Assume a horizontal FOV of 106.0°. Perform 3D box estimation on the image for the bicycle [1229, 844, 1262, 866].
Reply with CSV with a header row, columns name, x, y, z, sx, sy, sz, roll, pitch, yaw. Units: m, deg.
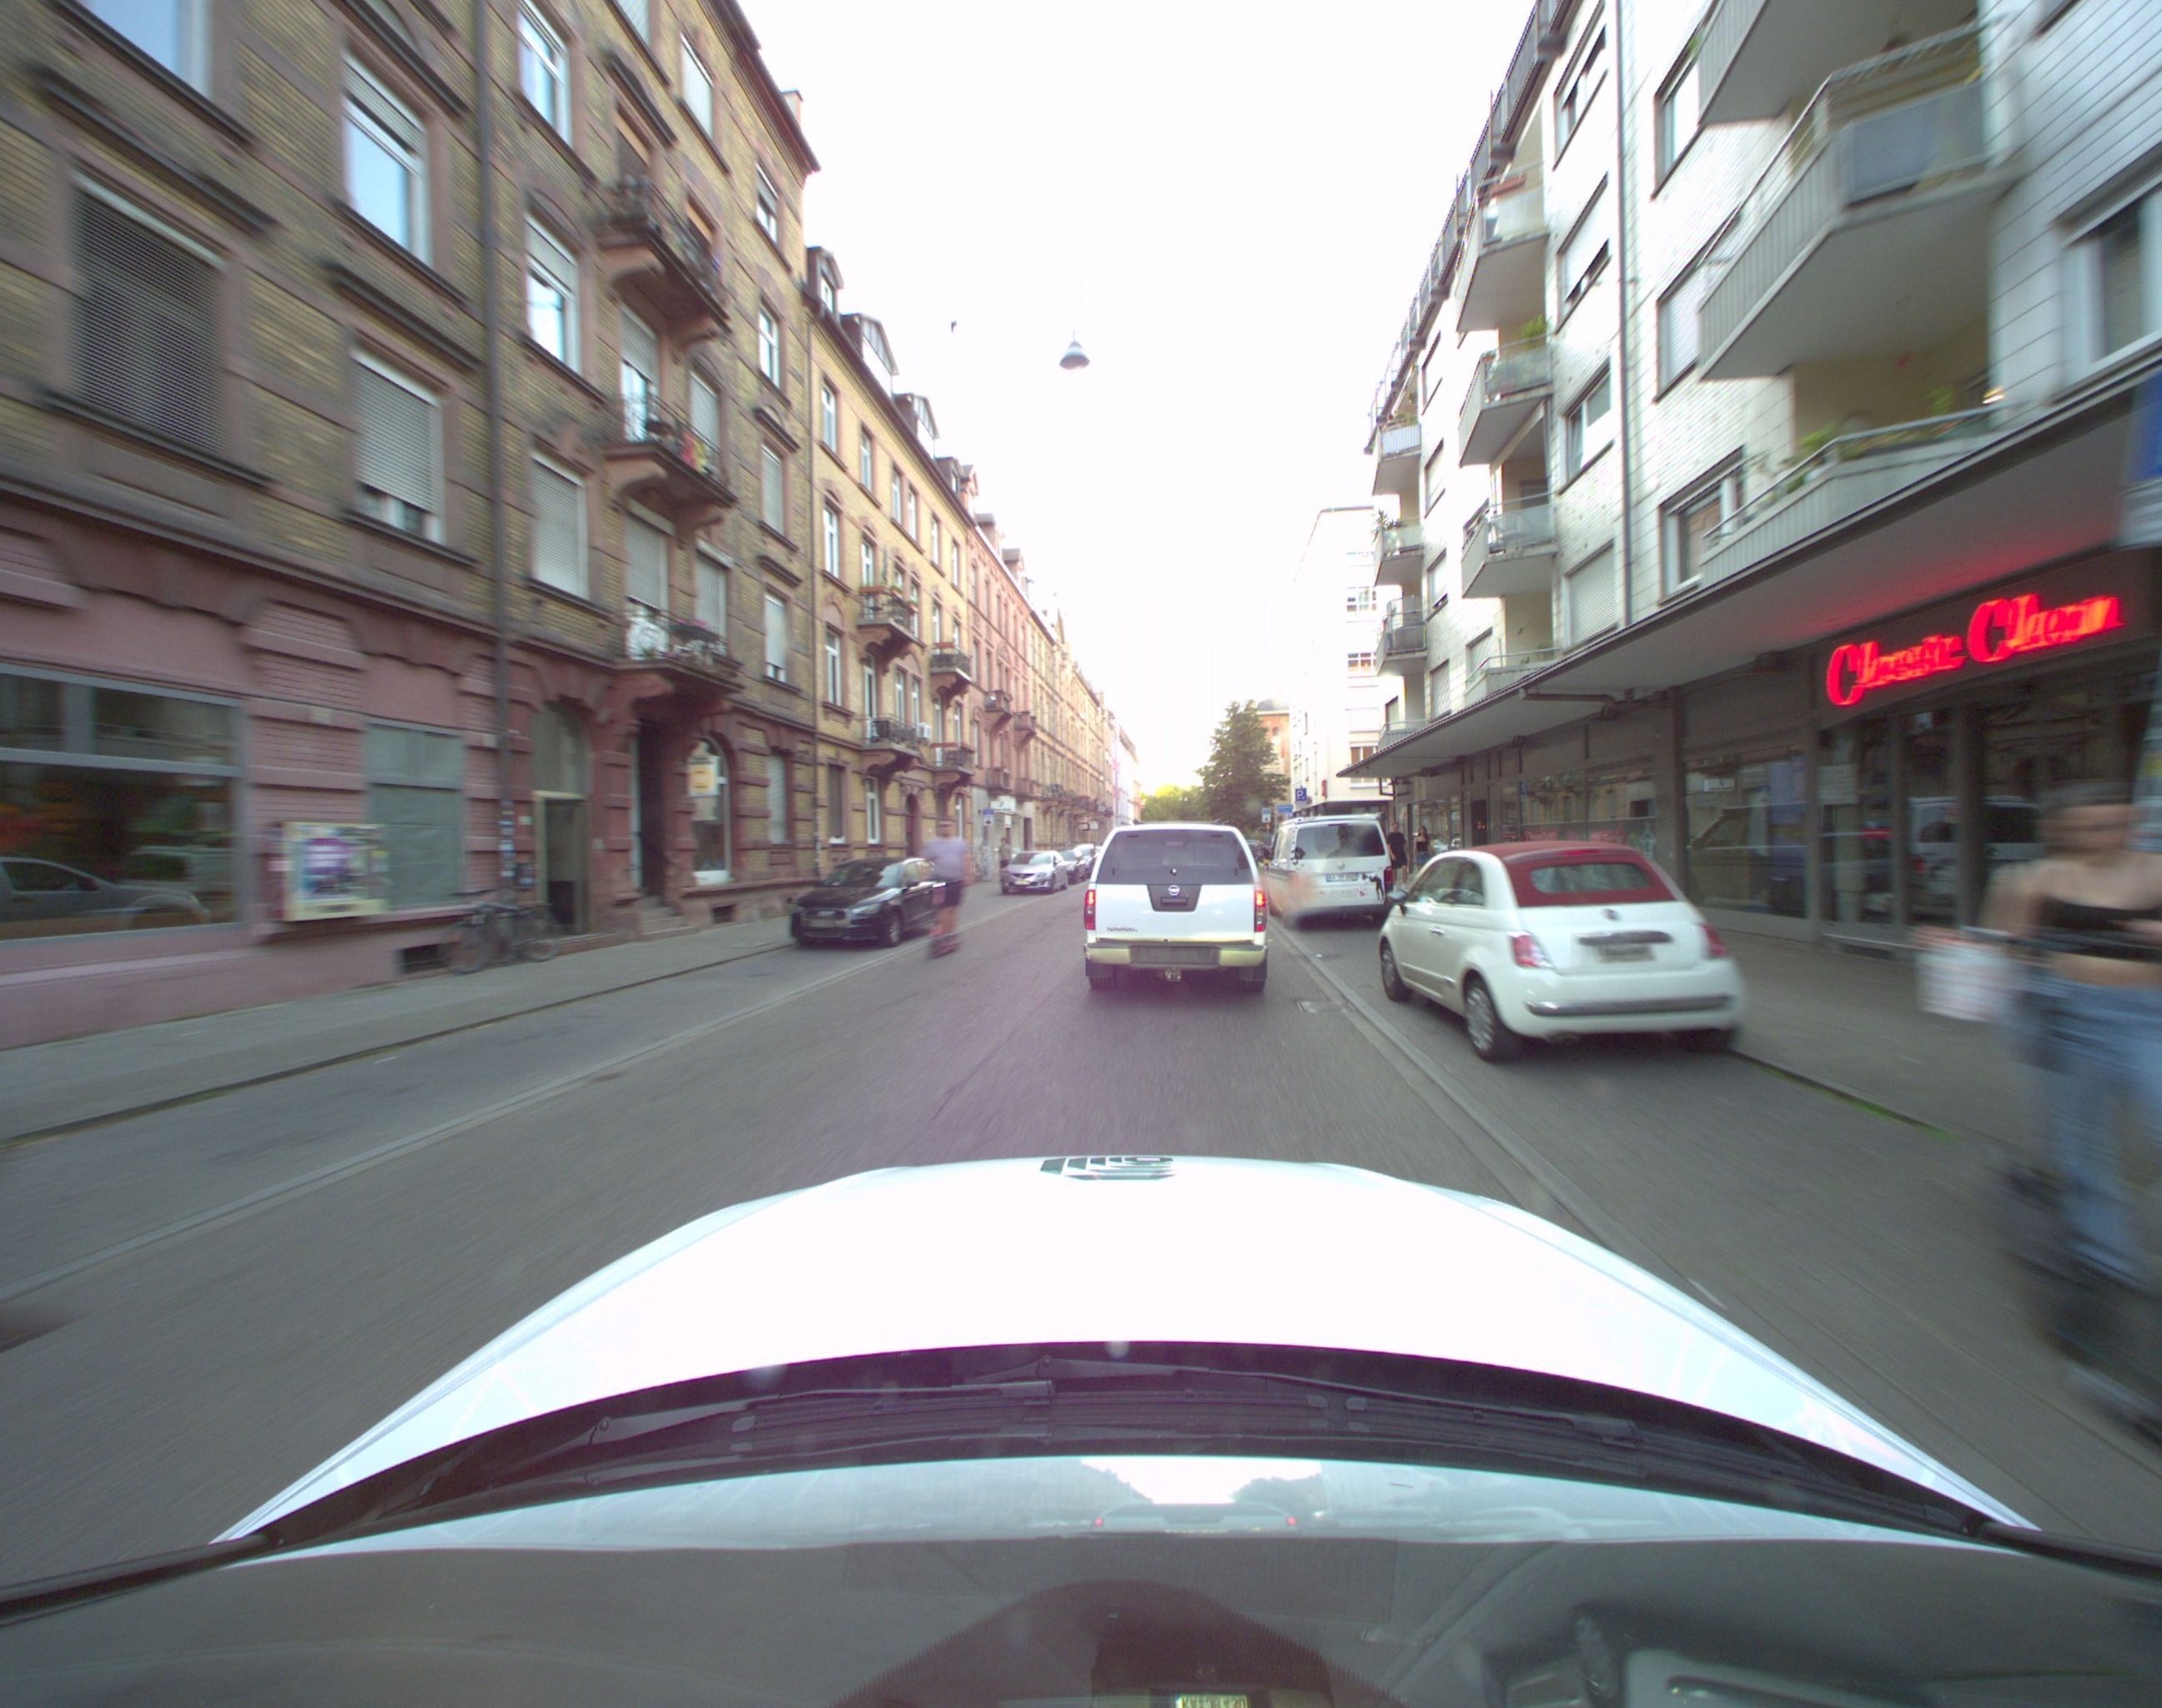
name,x,y,z,sx,sy,sz,roll,pitch,yaw
bicycle,9.327,0.068,46.148,1.713,1.118,0.708,-3,-1,6

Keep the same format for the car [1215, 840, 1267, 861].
name,x,y,z,sx,sy,sz,roll,pitch,yaw
car,13.056,-0.297,66.769,3.967,1.456,1.831,-3,0,5

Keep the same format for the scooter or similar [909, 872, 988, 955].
name,x,y,z,sx,sy,sz,roll,pitch,yaw
scooter or similar,-1.943,0.859,12.119,0.802,1.104,1.175,-2,1,8

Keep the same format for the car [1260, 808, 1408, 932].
name,x,y,z,sx,sy,sz,roll,pitch,yaw
car,4.744,0.227,16.042,1.947,1.973,5.015,-3,1,8

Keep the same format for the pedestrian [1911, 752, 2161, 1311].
name,x,y,z,sx,sy,sz,roll,pitch,yaw
pedestrian,3.245,0.500,2.650,0.650,1.600,0.586,-3,0,-33

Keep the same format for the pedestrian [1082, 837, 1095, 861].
name,x,y,z,sx,sy,sz,roll,pitch,yaw
pedestrian,0.561,-0.335,60.057,0.549,1.755,1.028,-1,-1,24

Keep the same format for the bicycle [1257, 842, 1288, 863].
name,x,y,z,sx,sy,sz,roll,pitch,yaw
bicycle,11.309,-0.070,48.051,1.711,1.118,0.656,-3,-1,11

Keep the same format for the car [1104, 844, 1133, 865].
name,x,y,z,sx,sy,sz,roll,pitch,yaw
car,2.785,0.022,60.014,1.707,1.457,4.011,0,1,9

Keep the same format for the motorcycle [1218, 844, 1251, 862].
name,x,y,z,sx,sy,sz,roll,pitch,yaw
motorcycle,10.340,-0.038,54.958,2.056,1.078,0.662,-3,0,-8

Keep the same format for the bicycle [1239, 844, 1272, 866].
name,x,y,z,sx,sy,sz,roll,pitch,yaw
bicycle,9.703,0.054,45.228,1.711,1.118,0.709,-3,-1,11

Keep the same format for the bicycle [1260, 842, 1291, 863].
name,x,y,z,sx,sy,sz,roll,pitch,yaw
bicycle,11.334,-0.068,47.471,1.711,1.118,0.656,-3,-1,11

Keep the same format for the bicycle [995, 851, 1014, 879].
name,x,y,z,sx,sy,sz,roll,pitch,yaw
bicycle,-3.306,0.465,35.179,0.706,1.196,1.740,-1,-1,-2

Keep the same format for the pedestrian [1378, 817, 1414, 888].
name,x,y,z,sx,sy,sz,roll,pitch,yaw
pedestrian,8.331,-0.040,21.571,0.703,1.828,0.864,-3,-1,13

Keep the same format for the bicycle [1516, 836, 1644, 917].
name,x,y,z,sx,sy,sz,roll,pitch,yaw
bicycle,8.169,0.357,13.436,0.909,1.195,1.708,-4,0,-6

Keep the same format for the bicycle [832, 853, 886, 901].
name,x,y,z,sx,sy,sz,roll,pitch,yaw
bicycle,-5.907,0.581,21.748,0.524,1.171,2.054,1,1,11

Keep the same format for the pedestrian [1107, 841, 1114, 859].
name,x,y,z,sx,sy,sz,roll,pitch,yaw
pedestrian,2.853,-0.395,78.490,0.602,1.772,0.778,1,1,4

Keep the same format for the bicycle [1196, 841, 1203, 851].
name,x,y,z,sx,sy,sz,roll,pitch,yaw
bicycle,13.279,-0.856,91.171,0.641,1.081,1.835,-3,0,6

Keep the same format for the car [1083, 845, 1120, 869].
name,x,y,z,sx,sy,sz,roll,pitch,yaw
car,1.307,0.150,50.400,1.748,1.411,4.519,0,1,8

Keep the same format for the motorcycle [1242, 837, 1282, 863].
name,x,y,z,sx,sy,sz,roll,pitch,yaw
motorcycle,11.934,-0.234,53.835,2.476,1.549,0.826,-4,-1,10

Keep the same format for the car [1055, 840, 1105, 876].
name,x,y,z,sx,sy,sz,roll,pitch,yaw
car,0.001,0.163,40.300,1.842,1.633,4.456,0,1,8

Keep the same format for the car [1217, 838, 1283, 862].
name,x,y,z,sx,sy,sz,roll,pitch,yaw
car,12.170,-0.275,58.865,4.406,1.455,1.780,-4,0,1

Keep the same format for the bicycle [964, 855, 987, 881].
name,x,y,z,sx,sy,sz,roll,pitch,yaw
bicycle,-4.378,0.559,33.954,0.446,1.022,1.852,2,1,8

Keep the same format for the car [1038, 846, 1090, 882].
name,x,y,z,sx,sy,sz,roll,pitch,yaw
car,-0.679,0.392,34.662,1.576,1.420,3.706,-1,1,9

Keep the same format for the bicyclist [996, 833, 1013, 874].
name,x,y,z,sx,sy,sz,roll,pitch,yaw
bicyclist,-3.308,-0.007,35.212,0.706,1.729,0.842,-1,-1,-3

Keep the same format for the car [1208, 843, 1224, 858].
name,x,y,z,sx,sy,sz,roll,pitch,yaw
car,15.132,-0.404,91.510,1.666,1.429,4.489,-5,0,9

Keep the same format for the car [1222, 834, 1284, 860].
name,x,y,z,sx,sy,sz,roll,pitch,yaw
car,12.961,-0.527,61.554,4.375,1.647,1.750,-4,0,7

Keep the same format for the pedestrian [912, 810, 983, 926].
name,x,y,z,sx,sy,sz,roll,pitch,yaw
pedestrian,-1.969,0.198,12.109,0.802,1.660,0.674,-2,1,8

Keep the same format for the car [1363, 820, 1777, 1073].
name,x,y,z,sx,sy,sz,roll,pitch,yaw
car,3.626,0.569,6.787,1.584,1.501,3.429,-3,0,6

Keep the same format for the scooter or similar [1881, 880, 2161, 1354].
name,x,y,z,sx,sy,sz,roll,pitch,yaw
scooter or similar,3.130,0.727,2.764,1.170,1.171,0.530,-5,3,-43

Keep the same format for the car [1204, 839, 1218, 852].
name,x,y,z,sx,sy,sz,roll,pitch,yaw
car,17.282,-1.104,108.042,1.666,1.501,3.911,-4,0,9

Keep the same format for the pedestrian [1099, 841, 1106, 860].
name,x,y,z,sx,sy,sz,roll,pitch,yaw
pedestrian,2.066,-0.374,78.505,0.577,1.771,0.999,1,1,4

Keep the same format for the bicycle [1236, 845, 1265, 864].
name,x,y,z,sx,sy,sz,roll,pitch,yaw
bicycle,10.633,0.039,51.197,1.708,1.031,0.669,-5,-1,10

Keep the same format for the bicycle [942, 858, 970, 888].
name,x,y,z,sx,sy,sz,roll,pitch,yaw
bicycle,-4.685,0.686,30.615,0.546,1.037,1.764,1,1,8

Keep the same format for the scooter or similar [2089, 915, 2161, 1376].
name,x,y,z,sx,sy,sz,roll,pitch,yaw
scooter or similar,3.344,0.742,1.964,1.156,1.171,0.537,-3,2,0

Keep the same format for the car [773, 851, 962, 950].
name,x,y,z,sx,sy,sz,roll,pitch,yaw
car,-3.533,0.698,14.268,1.683,1.420,3.866,0,1,11

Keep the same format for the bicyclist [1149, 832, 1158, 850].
name,x,y,z,sx,sy,sz,roll,pitch,yaw
bicyclist,6.818,-1.206,76.558,0.642,1.620,0.918,-3,0,1

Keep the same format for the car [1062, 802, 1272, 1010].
name,x,y,z,sx,sy,sz,roll,pitch,yaw
car,1.247,0.431,10.001,1.899,1.853,5.286,0,1,11

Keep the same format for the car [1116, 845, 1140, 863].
name,x,y,z,sx,sy,sz,roll,pitch,yaw
car,3.938,-0.026,67.653,1.774,1.422,4.493,1,1,6

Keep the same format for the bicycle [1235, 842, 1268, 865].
name,x,y,z,sx,sy,sz,roll,pitch,yaw
bicycle,10.240,-0.021,49.012,1.774,1.182,0.737,-5,-1,18

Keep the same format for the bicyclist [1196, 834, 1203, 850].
name,x,y,z,sx,sy,sz,roll,pitch,yaw
bicyclist,13.257,-1.373,91.310,0.641,1.760,0.649,-3,0,6

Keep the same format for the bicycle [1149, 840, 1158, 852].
name,x,y,z,sx,sy,sz,roll,pitch,yaw
bicycle,6.836,-0.766,76.548,0.642,1.081,2.169,-3,0,1

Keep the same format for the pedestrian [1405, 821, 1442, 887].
name,x,y,z,sx,sy,sz,roll,pitch,yaw
pedestrian,8.939,-0.004,21.269,0.703,1.665,0.747,-3,-1,13

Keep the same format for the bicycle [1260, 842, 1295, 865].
name,x,y,z,sx,sy,sz,roll,pitch,yaw
bicycle,10.762,-0.027,44.660,1.719,1.131,0.578,-3,-1,-4

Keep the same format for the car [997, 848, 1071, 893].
name,x,y,z,sx,sy,sz,roll,pitch,yaw
car,-1.533,0.504,28.375,1.713,1.420,4.592,0,0,8

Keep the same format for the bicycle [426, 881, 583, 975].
name,x,y,z,sx,sy,sz,roll,pitch,yaw
bicycle,-7.572,0.927,10.813,0.422,1.053,1.904,-1,1,11

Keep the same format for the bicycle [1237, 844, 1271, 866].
name,x,y,z,sx,sy,sz,roll,pitch,yaw
bicycle,9.922,0.058,46.868,1.800,1.118,0.708,-3,-1,6
